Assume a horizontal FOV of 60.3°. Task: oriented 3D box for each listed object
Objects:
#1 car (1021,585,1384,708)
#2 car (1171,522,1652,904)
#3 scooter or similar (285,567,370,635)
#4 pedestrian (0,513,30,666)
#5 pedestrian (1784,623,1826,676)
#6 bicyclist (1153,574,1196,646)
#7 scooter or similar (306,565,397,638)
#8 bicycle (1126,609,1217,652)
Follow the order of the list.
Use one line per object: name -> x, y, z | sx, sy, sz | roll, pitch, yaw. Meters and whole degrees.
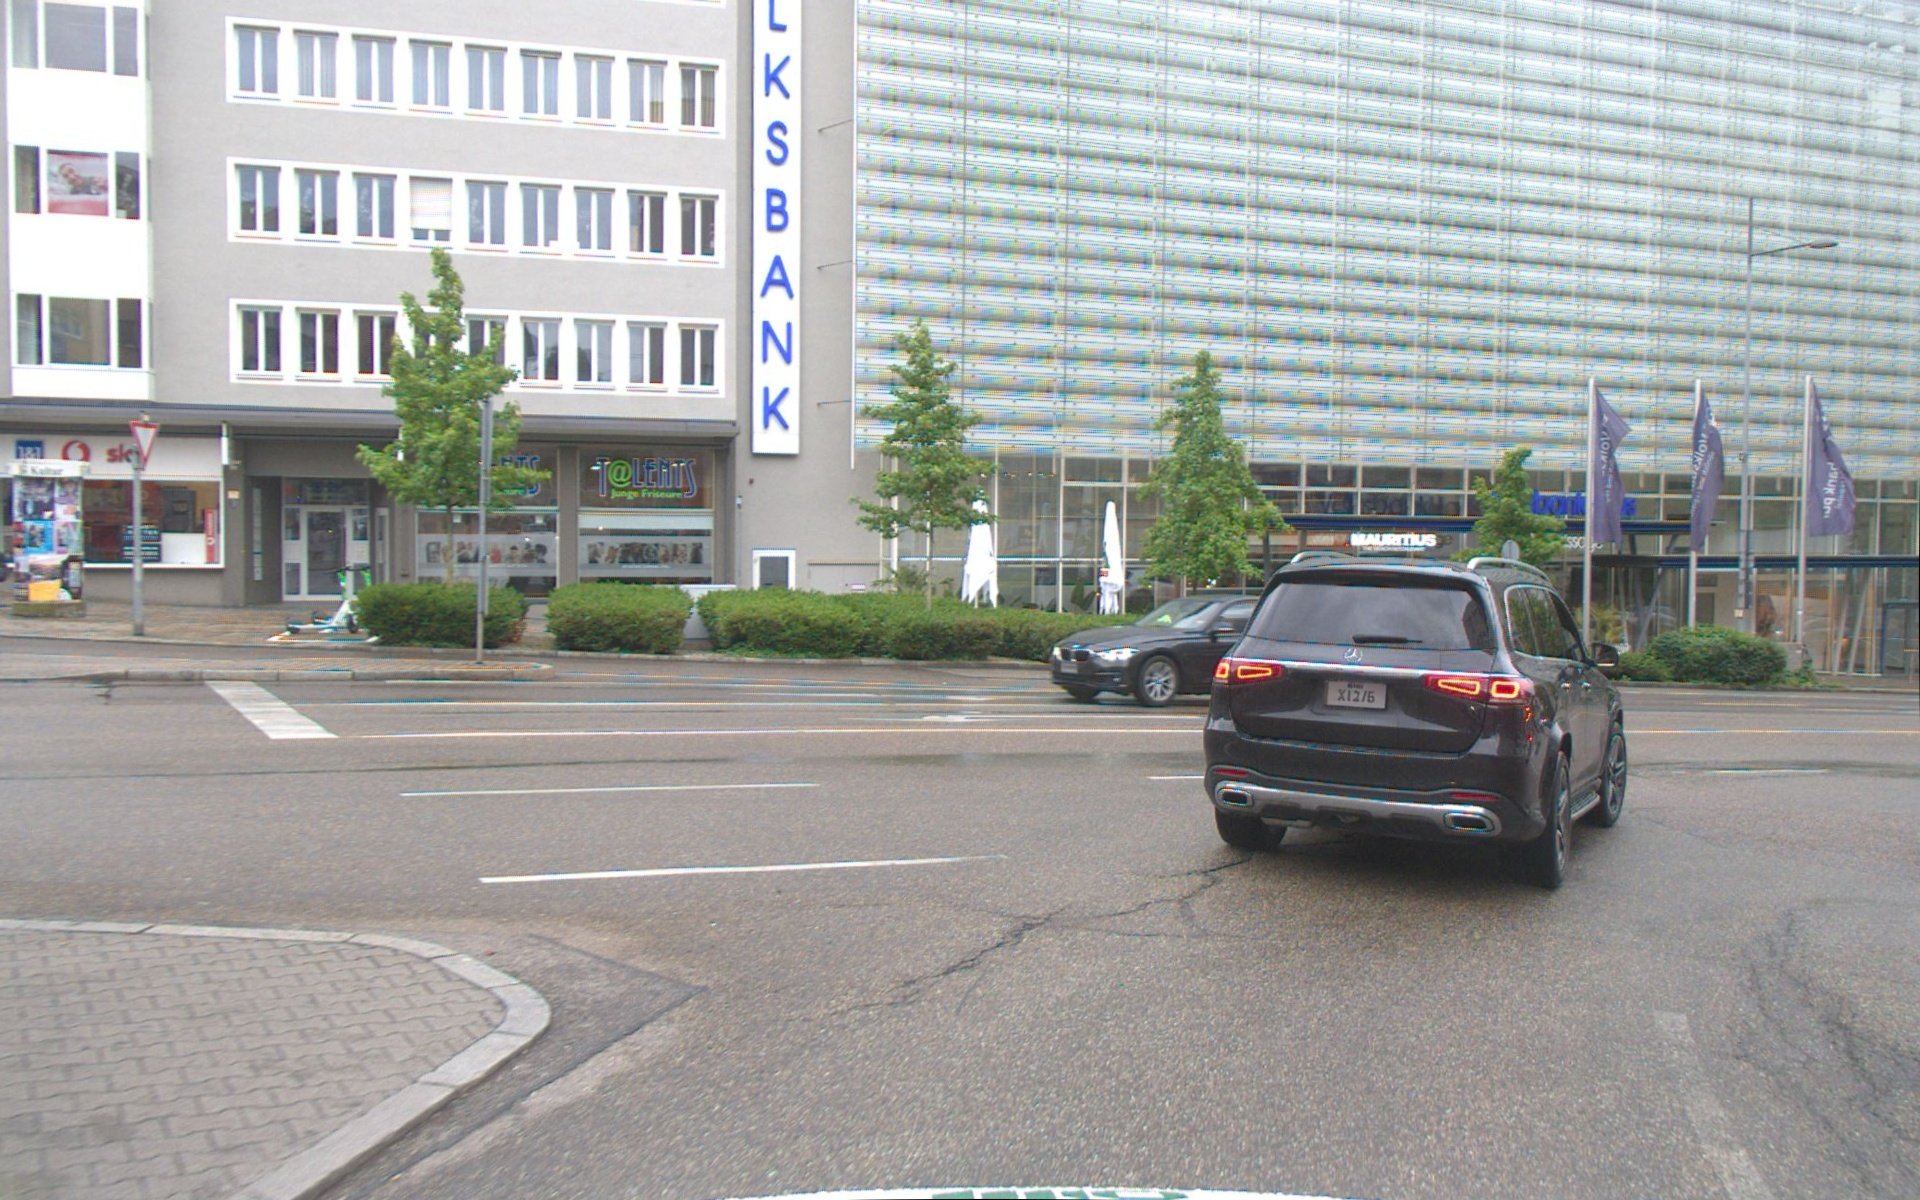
car -> 3.271, 0.630, 22.032 | 4.572, 1.450, 1.979 | 2, 0, -31
car -> 3.220, 0.591, 10.906 | 2.048, 1.848, 4.786 | 3, 0, 27
scooter or similar -> -11.352, 0.010, 29.697 | 1.355, 1.207, 0.542 | 0, 1, -12
pedestrian -> -11.653, -0.137, 19.764 | 0.823, 1.809, 0.609 | 2, 0, -38
pedestrian -> 24.207, 1.419, 47.408 | 0.830, 1.482, 0.650 | 2, 0, -22
bicyclist -> 5.247, 0.230, 40.476 | 0.831, 1.734, 0.620 | 0, 1, -18
scooter or similar -> -11.540, 0.023, 31.398 | 1.471, 1.277, 0.929 | 2, 5, -12
bicycle -> 5.175, 0.750, 40.466 | 2.104, 1.010, 0.691 | 1, 1, -18
